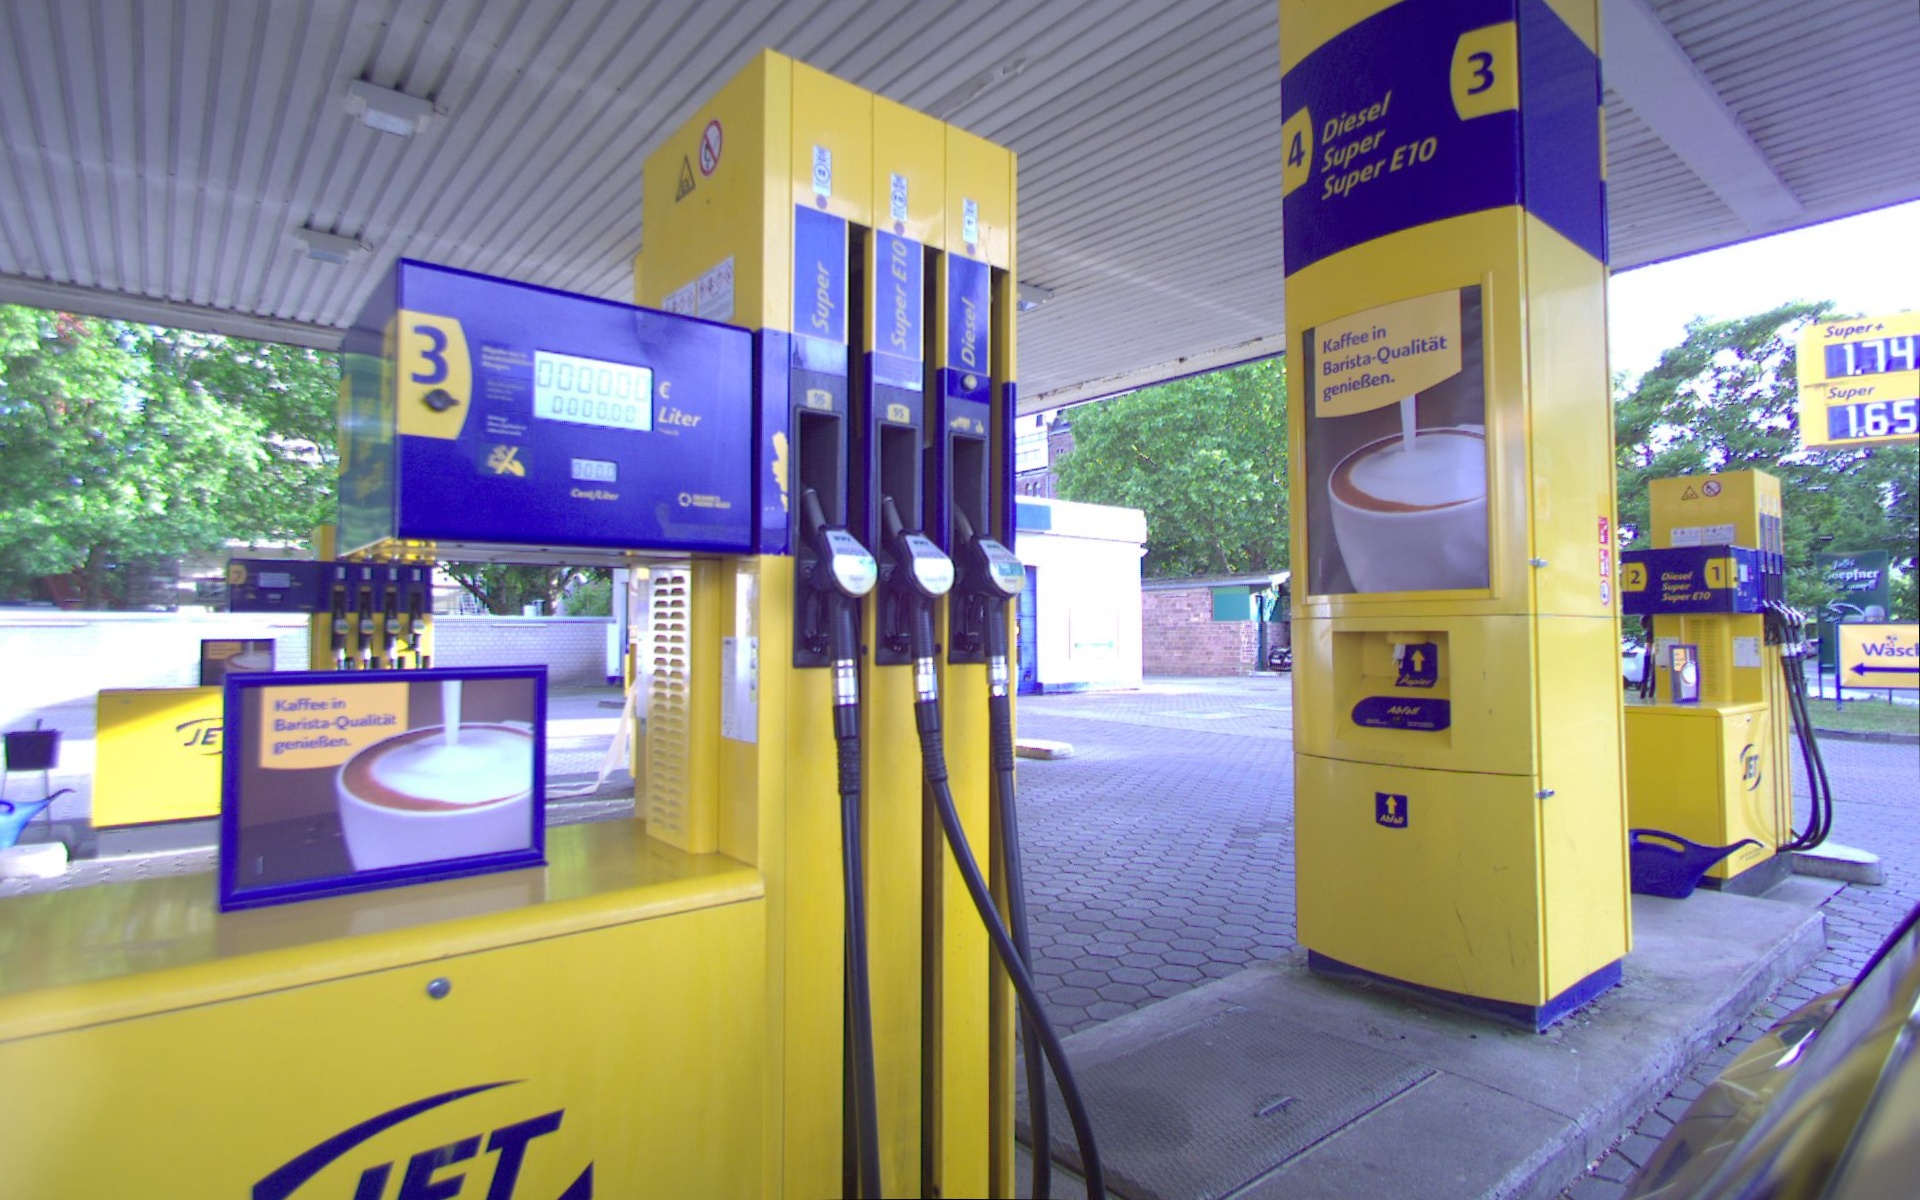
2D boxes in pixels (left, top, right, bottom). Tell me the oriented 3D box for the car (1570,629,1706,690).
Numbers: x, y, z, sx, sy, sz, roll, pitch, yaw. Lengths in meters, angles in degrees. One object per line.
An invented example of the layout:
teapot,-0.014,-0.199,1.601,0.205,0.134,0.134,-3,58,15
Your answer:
car,18.227,1.562,27.166,3.923,1.529,1.740,2,-3,-35

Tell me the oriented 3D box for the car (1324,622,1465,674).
car,13.795,1.547,32.153,4.134,1.544,1.791,2,-3,-24

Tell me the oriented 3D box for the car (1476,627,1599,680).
car,17.562,1.641,30.754,3.923,1.529,1.740,3,-3,-35

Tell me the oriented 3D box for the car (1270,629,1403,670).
car,12.836,1.698,34.502,4.134,1.294,1.751,2,-3,-22
